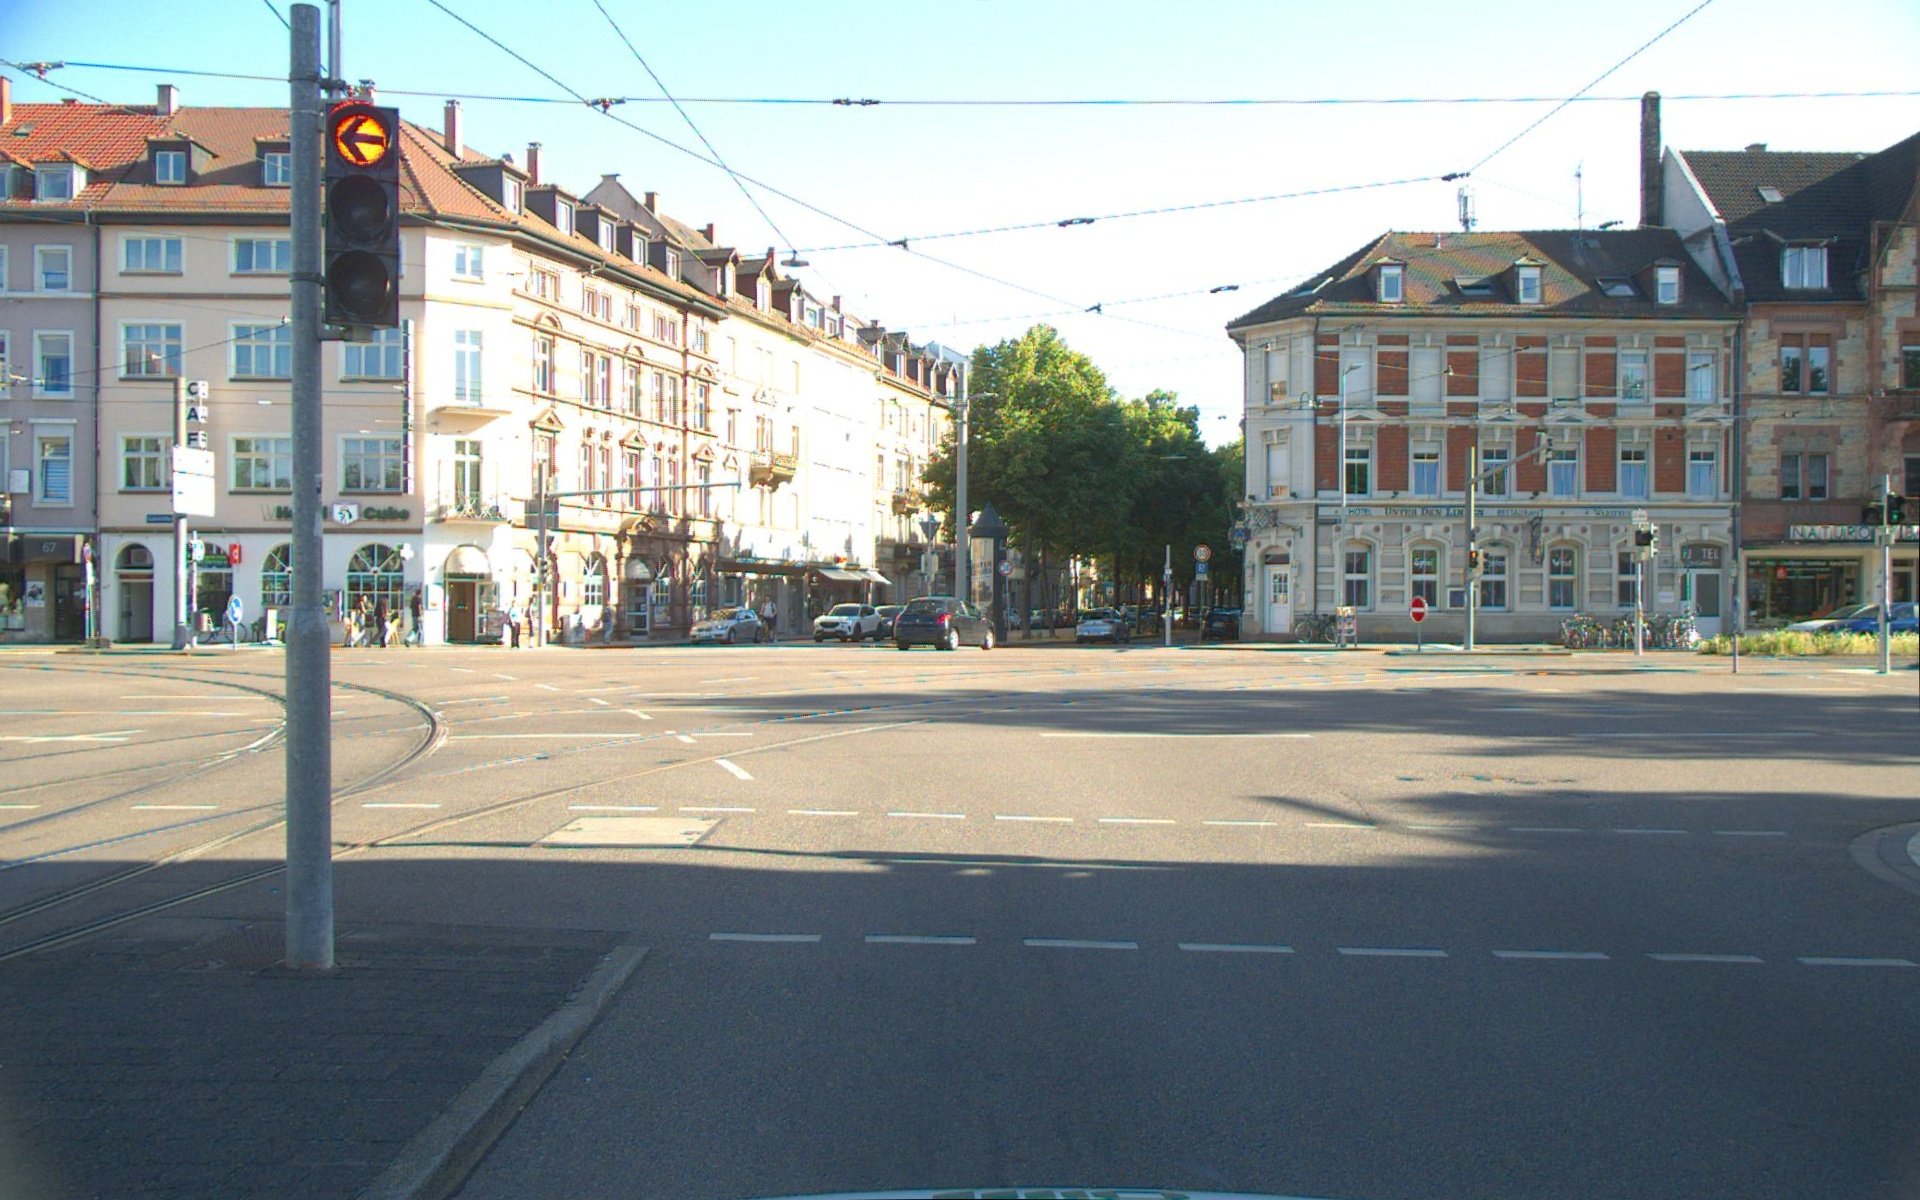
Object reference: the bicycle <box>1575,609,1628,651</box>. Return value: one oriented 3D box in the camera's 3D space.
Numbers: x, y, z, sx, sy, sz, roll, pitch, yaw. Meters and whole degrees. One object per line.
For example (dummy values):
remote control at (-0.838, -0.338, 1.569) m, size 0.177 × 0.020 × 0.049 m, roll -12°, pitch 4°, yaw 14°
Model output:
bicycle at (20.590, 0.941, 53.123) m, size 0.678 × 1.309 × 2.661 m, roll 1°, pitch 0°, yaw 0°

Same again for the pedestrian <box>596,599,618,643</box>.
pedestrian at (-13.473, 0.812, 63.103) m, size 0.532 × 1.660 × 0.707 m, roll 1°, pitch -1°, yaw 13°

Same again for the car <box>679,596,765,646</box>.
car at (-9.595, 0.838, 66.946) m, size 1.951 × 1.937 × 4.002 m, roll 1°, pitch 0°, yaw 17°

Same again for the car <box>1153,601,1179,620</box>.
car at (16.798, 0.842, 134.897) m, size 1.526 × 1.540 × 3.658 m, roll 1°, pitch 0°, yaw 16°

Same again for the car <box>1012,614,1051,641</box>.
car at (5.336, 2.026, 122.570) m, size 1.951 × 1.937 × 4.002 m, roll 1°, pitch 0°, yaw 16°

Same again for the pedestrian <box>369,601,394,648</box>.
pedestrian at (-18.583, 0.786, 53.138) m, size 0.620 × 1.502 × 0.465 m, roll 1°, pitch -1°, yaw -5°

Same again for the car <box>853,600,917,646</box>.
car at (-3.312, 1.014, 73.582) m, size 1.951 × 1.937 × 4.003 m, roll 1°, pitch 0°, yaw 11°

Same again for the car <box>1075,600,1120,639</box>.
car at (5.834, 0.820, 69.641) m, size 1.734 × 1.557 × 4.003 m, roll 1°, pitch 0°, yaw 7°

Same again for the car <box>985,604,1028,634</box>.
car at (3.174, 1.293, 112.732) m, size 1.951 × 1.937 × 4.002 m, roll 1°, pitch 0°, yaw 16°

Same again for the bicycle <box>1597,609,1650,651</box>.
bicycle at (21.301, 0.951, 53.144) m, size 0.615 × 1.309 × 2.661 m, roll 1°, pitch 0°, yaw 0°

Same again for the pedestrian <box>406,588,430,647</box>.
pedestrian at (-17.784, 0.577, 54.255) m, size 0.620 × 1.914 × 0.465 m, roll 1°, pitch -1°, yaw -5°

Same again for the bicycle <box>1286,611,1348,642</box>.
bicycle at (12.345, 0.914, 57.267) m, size 2.006 × 1.015 × 0.631 m, roll 1°, pitch 0°, yaw 2°

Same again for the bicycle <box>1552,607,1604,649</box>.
bicycle at (19.809, 0.892, 53.070) m, size 0.678 × 1.309 × 2.661 m, roll 1°, pitch 0°, yaw 0°

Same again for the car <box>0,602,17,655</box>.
car at (-32.392, 0.912, 52.424) m, size 3.902 × 1.699 × 2.002 m, roll 0°, pitch 0°, yaw 8°

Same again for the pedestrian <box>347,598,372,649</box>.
pedestrian at (-19.488, 0.772, 53.673) m, size 0.620 × 1.640 × 0.465 m, roll 1°, pitch -1°, yaw -5°

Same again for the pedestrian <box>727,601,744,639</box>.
pedestrian at (-10.132, 0.898, 74.633) m, size 0.532 × 1.660 × 0.707 m, roll 1°, pitch -1°, yaw 13°

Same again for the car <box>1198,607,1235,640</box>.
car at (12.862, 1.153, 82.771) m, size 1.655 × 1.592 × 3.844 m, roll 1°, pitch 0°, yaw 11°

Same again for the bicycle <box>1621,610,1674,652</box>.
bicycle at (22.078, 0.967, 53.147) m, size 0.615 × 1.309 × 2.661 m, roll 1°, pitch 0°, yaw 0°

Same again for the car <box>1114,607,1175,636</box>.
car at (12.844, 1.470, 115.147) m, size 3.902 × 1.937 × 2.001 m, roll 1°, pitch 0°, yaw 15°

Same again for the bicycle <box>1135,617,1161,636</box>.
bicycle at (11.275, 1.576, 99.219) m, size 0.619 × 1.104 × 1.685 m, roll 1°, pitch 0°, yaw -31°

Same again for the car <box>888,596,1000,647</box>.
car at (-0.409, 0.621, 47.602) m, size 1.719 × 1.386 × 3.853 m, roll 1°, pitch 0°, yaw 25°

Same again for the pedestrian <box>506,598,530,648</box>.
pedestrian at (-14.866, 0.781, 55.666) m, size 0.620 × 1.662 × 0.700 m, roll 1°, pitch -1°, yaw -4°

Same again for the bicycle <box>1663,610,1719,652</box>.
bicycle at (23.477, 0.985, 53.170) m, size 0.615 × 1.309 × 2.661 m, roll 1°, pitch 0°, yaw 0°

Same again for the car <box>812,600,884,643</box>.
car at (-4.500, 0.865, 67.123) m, size 1.951 × 1.646 × 4.003 m, roll 1°, pitch 0°, yaw 11°

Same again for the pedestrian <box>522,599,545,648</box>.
pedestrian at (-14.668, 0.789, 56.844) m, size 0.620 × 1.662 × 0.700 m, roll 1°, pitch -1°, yaw -4°

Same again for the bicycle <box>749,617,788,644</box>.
bicycle at (-7.535, 1.207, 65.153) m, size 0.746 × 1.025 × 2.398 m, roll 1°, pitch 0°, yaw 13°

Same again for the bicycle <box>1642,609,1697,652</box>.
bicycle at (22.793, 0.966, 53.171) m, size 0.615 × 1.309 × 2.661 m, roll 1°, pitch 0°, yaw 0°

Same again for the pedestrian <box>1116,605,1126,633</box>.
pedestrian at (10.842, 1.280, 111.493) m, size 0.626 × 1.827 × 0.491 m, roll 1°, pitch -1°, yaw 12°

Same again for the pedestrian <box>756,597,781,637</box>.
pedestrian at (-7.547, 0.668, 65.082) m, size 0.803 × 1.539 × 0.598 m, roll 1°, pitch -1°, yaw 14°

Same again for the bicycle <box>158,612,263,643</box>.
bicycle at (-25.522, 0.941, 56.346) m, size 3.066 × 0.997 × 1.001 m, roll 1°, pitch 0°, yaw -1°

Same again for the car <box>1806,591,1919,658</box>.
car at (25.927, 0.689, 46.047) m, size 3.706 × 1.809 × 1.999 m, roll 1°, pitch 0°, yaw -2°
